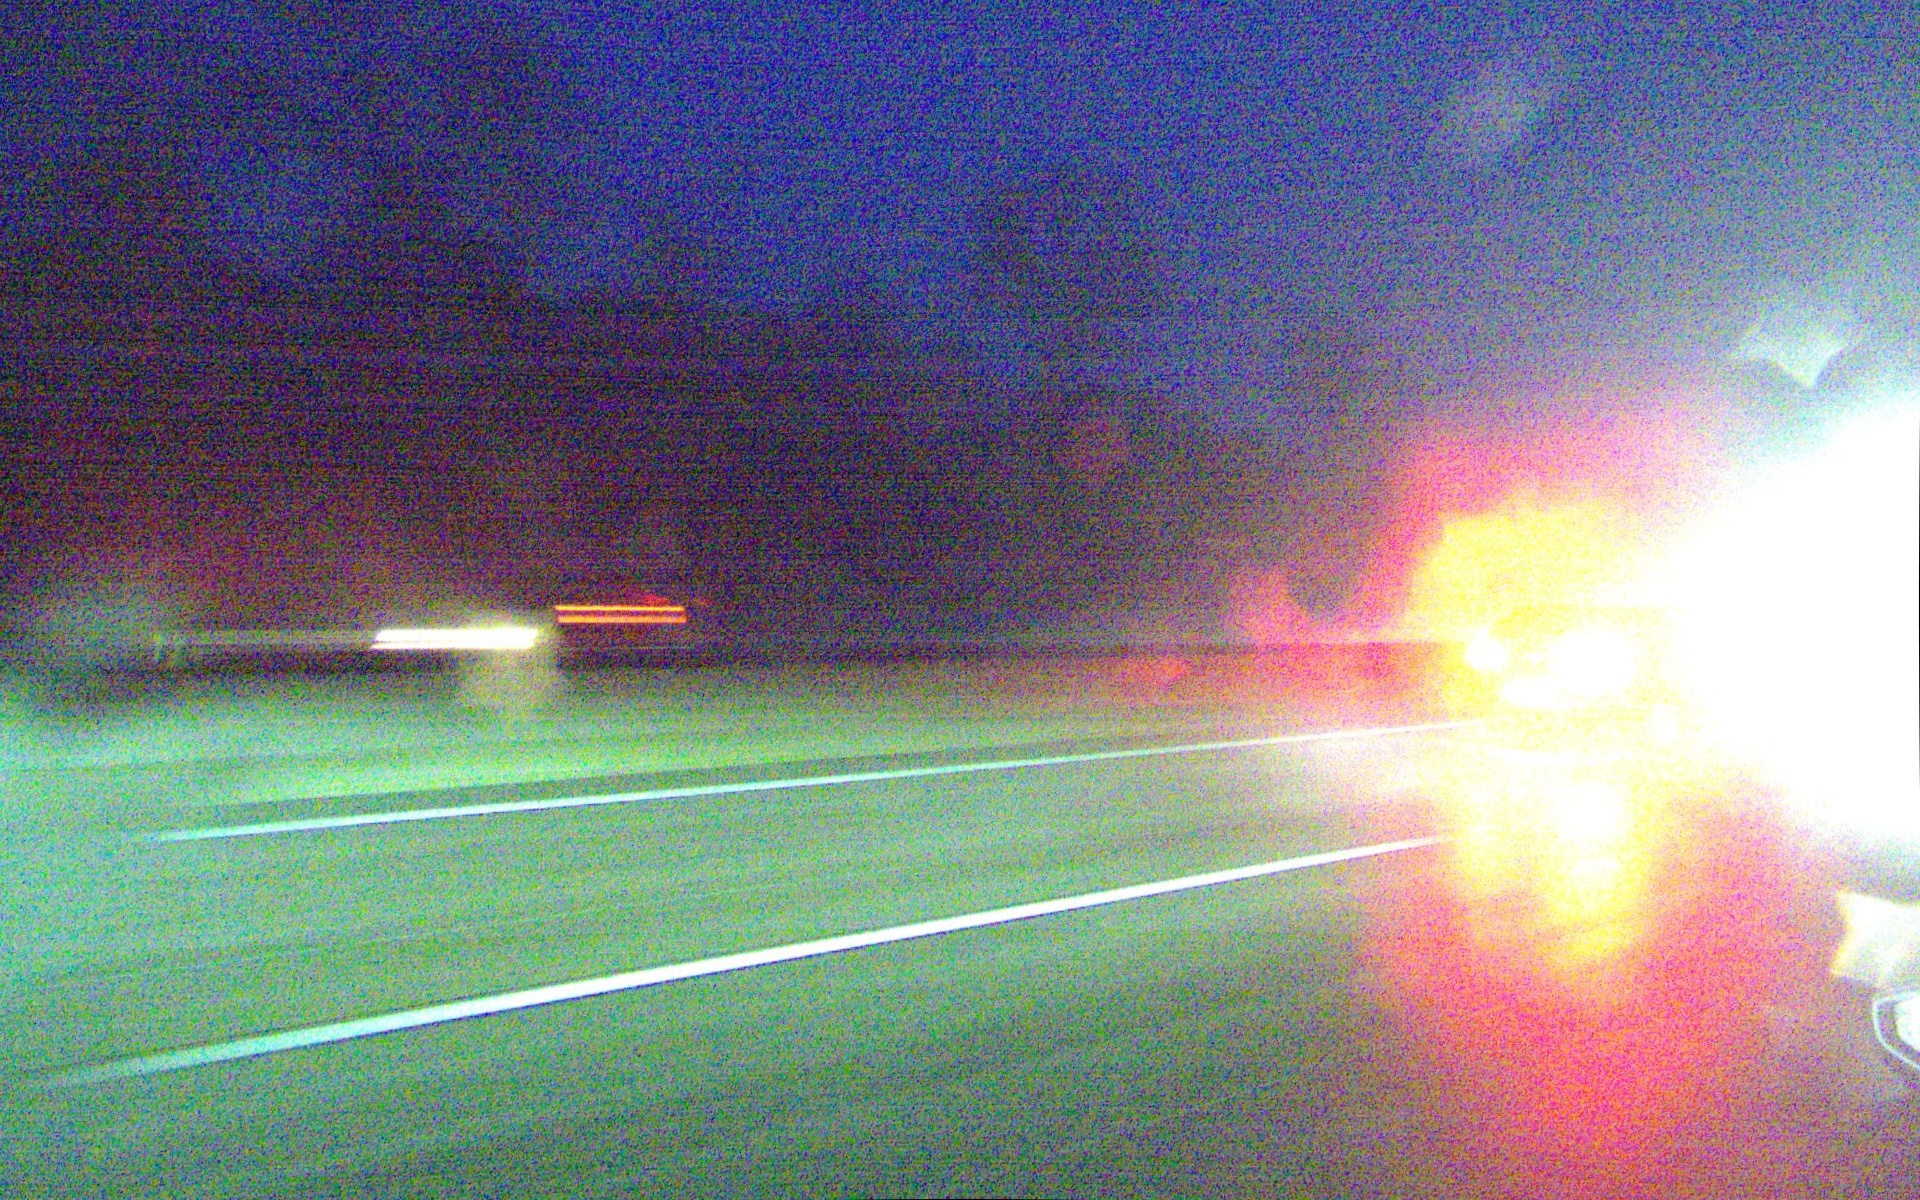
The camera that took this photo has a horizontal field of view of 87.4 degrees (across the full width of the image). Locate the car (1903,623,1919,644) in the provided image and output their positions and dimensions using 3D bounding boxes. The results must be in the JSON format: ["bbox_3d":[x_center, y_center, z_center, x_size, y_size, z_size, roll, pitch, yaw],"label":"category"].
[{"bbox_3d":[62.787,2.217,65.114,3.724,1.253,1.651,3,-1,-35],"label":"car"}]

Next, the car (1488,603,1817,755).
[{"bbox_3d":[8.765,0.916,12.574,4.703,1.561,1.846,3,-1,-35],"label":"car"}]

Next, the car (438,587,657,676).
[{"bbox_3d":[-8.448,0.632,20.637,3.953,1.654,1.763,2,0,-30],"label":"car"}]
